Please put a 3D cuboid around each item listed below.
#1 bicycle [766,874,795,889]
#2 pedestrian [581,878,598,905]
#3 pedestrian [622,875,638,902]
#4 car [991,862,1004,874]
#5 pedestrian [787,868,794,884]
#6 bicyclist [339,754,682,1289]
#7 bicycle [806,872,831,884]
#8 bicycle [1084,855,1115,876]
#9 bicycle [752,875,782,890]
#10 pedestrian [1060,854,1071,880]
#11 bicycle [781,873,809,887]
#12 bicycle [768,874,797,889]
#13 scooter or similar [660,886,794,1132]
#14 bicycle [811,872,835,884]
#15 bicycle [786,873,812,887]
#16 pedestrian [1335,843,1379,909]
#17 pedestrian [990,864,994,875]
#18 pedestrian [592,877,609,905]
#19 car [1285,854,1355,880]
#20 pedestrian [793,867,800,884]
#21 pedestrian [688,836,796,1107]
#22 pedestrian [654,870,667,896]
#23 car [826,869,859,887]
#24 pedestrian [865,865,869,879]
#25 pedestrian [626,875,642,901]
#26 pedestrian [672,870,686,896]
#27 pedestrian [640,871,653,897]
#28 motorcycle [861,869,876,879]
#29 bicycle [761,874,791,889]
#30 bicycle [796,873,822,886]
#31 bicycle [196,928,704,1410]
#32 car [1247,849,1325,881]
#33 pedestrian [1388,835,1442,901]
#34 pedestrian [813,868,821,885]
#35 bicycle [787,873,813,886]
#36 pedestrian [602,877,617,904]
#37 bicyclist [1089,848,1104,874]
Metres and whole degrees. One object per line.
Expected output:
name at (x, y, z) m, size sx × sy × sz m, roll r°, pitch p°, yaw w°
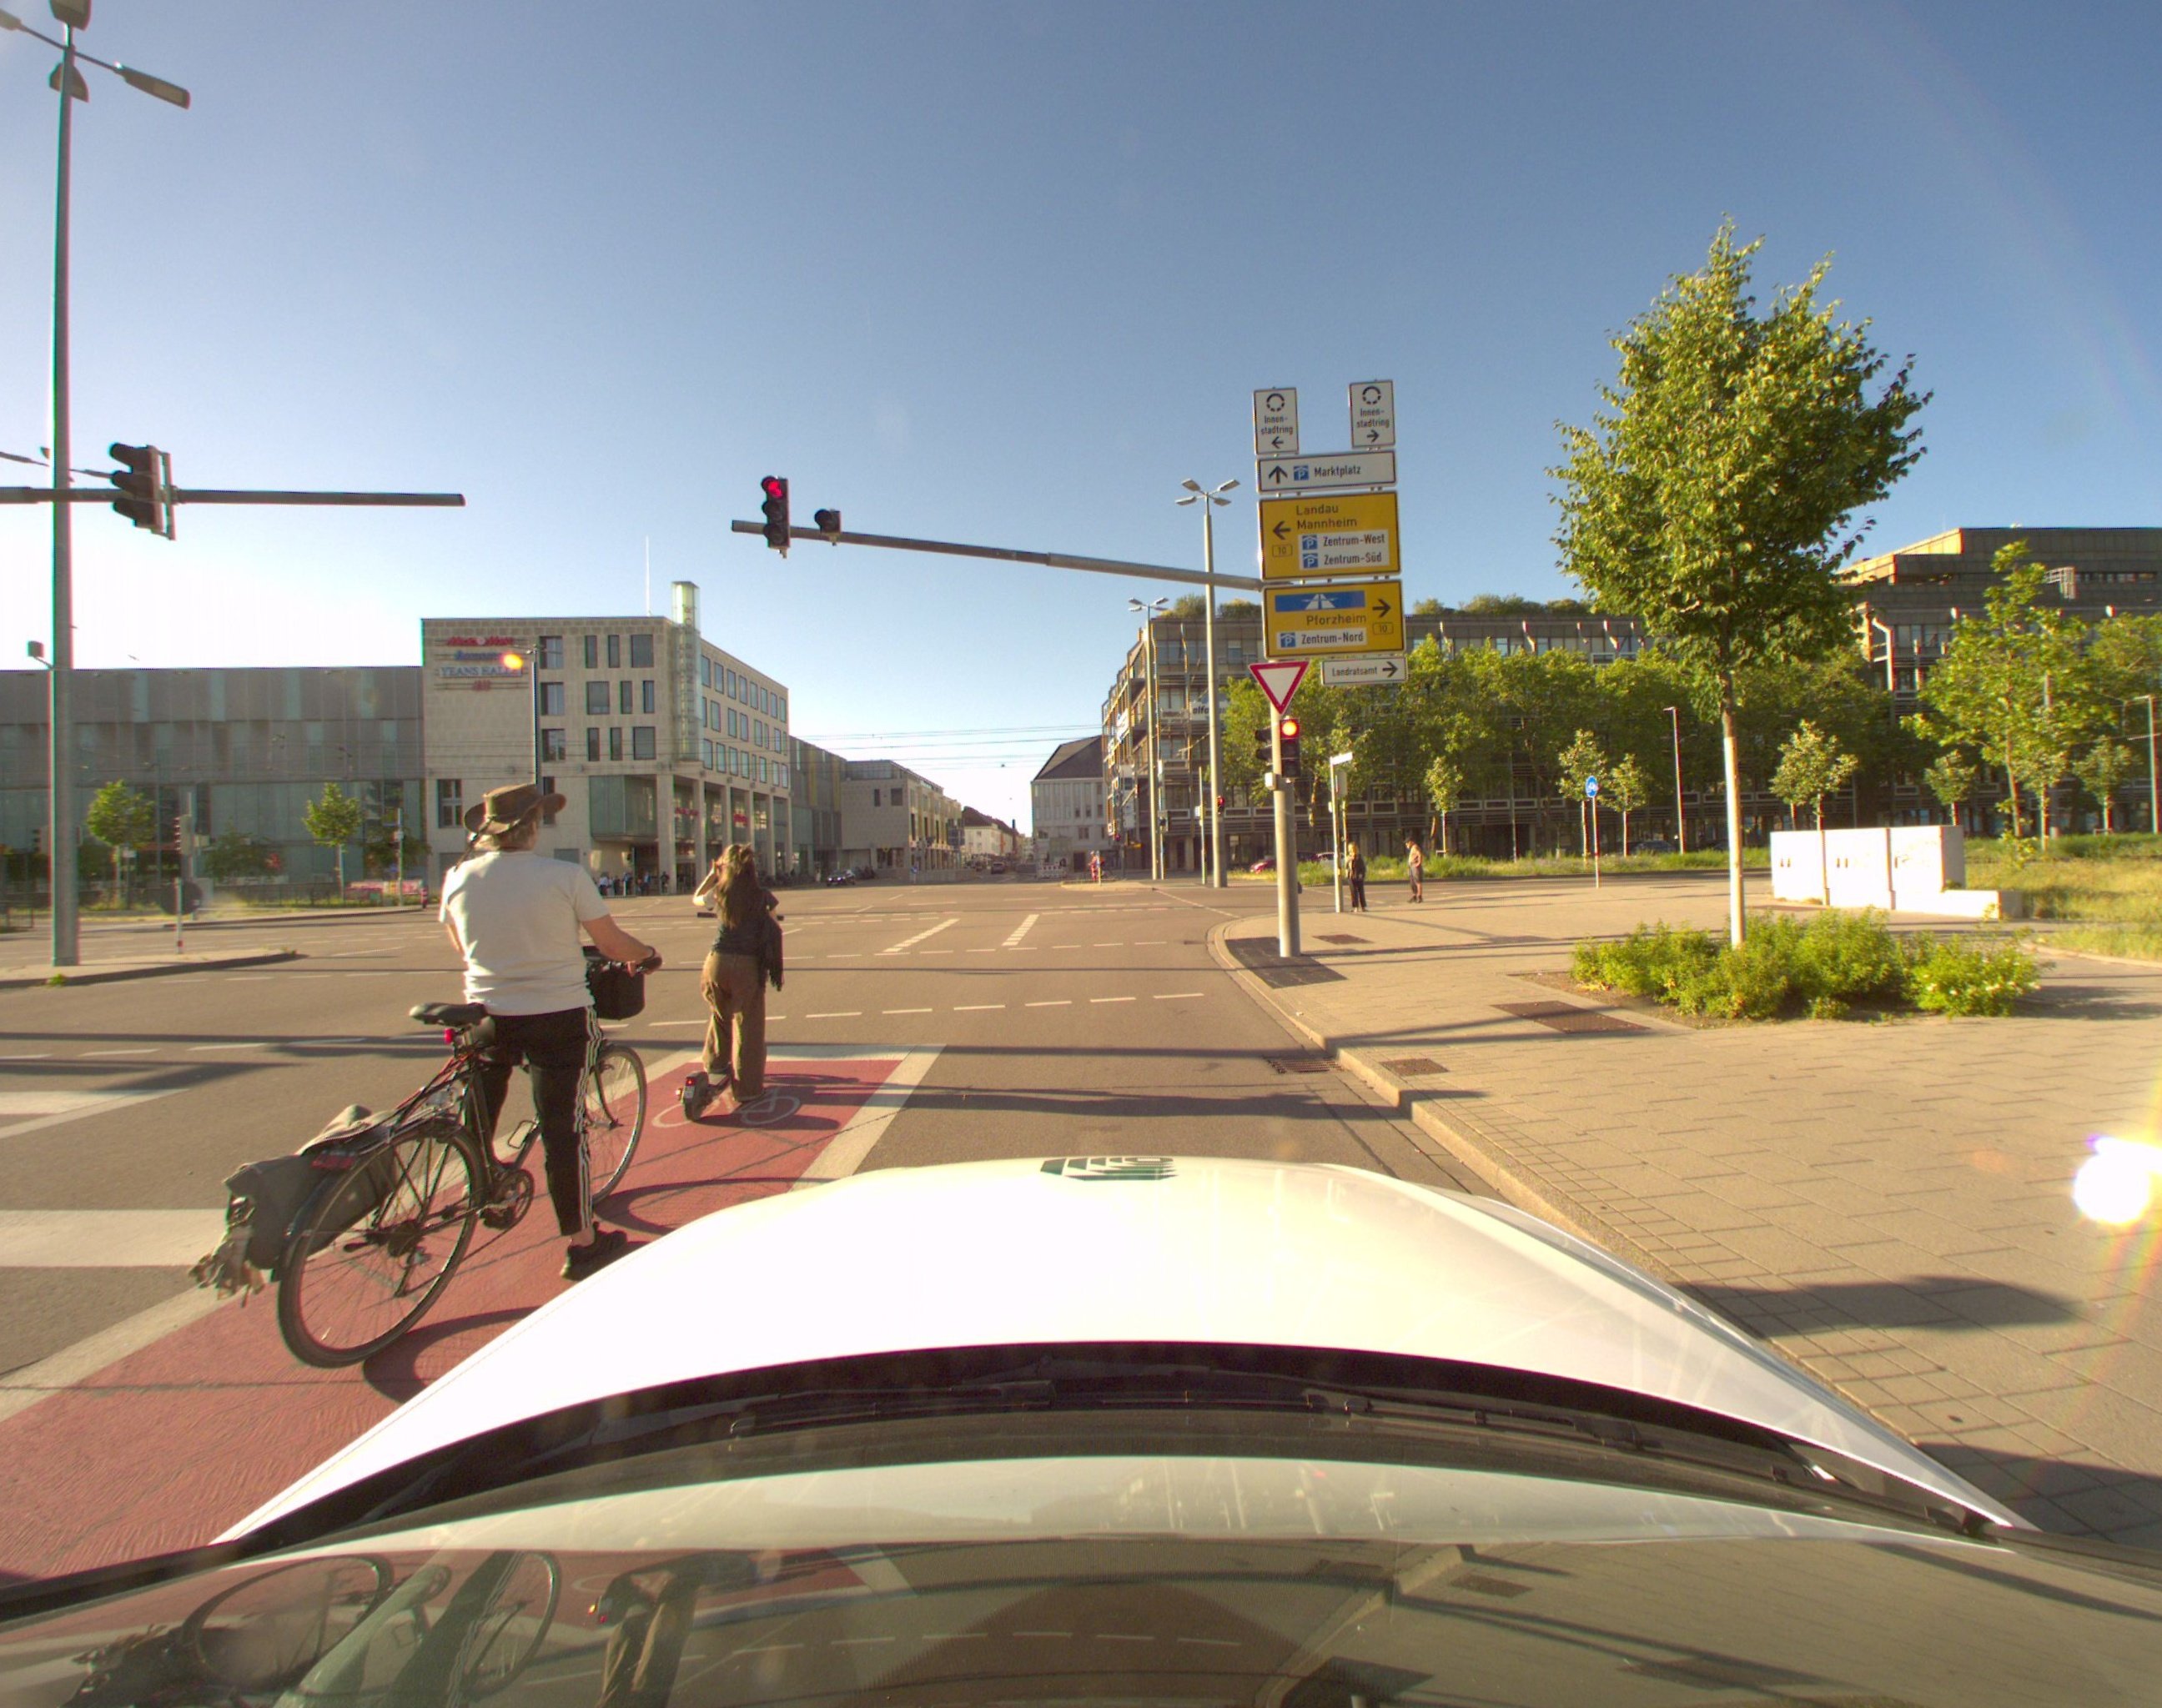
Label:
bicycle at (-26.563, 2.425, 72.013) m, size 2.299 × 1.222 × 0.612 m, roll -2°, pitch -1°, yaw -1°
pedestrian at (-35.181, 2.697, 58.325) m, size 0.783 × 1.885 × 0.716 m, roll 0°, pitch -1°, yaw -4°
pedestrian at (-31.944, 2.448, 57.694) m, size 0.783 × 1.885 × 0.716 m, roll 0°, pitch -1°, yaw -4°
car at (-11.136, 1.855, 108.657) m, size 1.735 × 1.531 × 3.848 m, roll 0°, pitch -1°, yaw -5°
pedestrian at (-29.700, 2.239, 83.250) m, size 0.570 × 1.679 × 0.614 m, roll 0°, pitch 0°, yaw -8°
bicyclist at (-2.053, 0.543, 3.063) m, size 0.658 × 1.720 × 0.866 m, roll 0°, pitch -1°, yaw 1°
bicycle at (-27.586, 2.544, 85.583) m, size 2.299 × 1.222 × 0.612 m, roll -2°, pitch -1°, yaw -1°
bicycle at (1.044, 0.652, 45.479) m, size 1.648 × 1.154 × 0.494 m, roll 0°, pitch -1°, yaw -16°
bicycle at (-26.731, 2.404, 69.376) m, size 2.299 × 1.222 × 0.612 m, roll -2°, pitch -1°, yaw -1°
pedestrian at (-1.137, 0.952, 60.345) m, size 0.637 × 1.890 × 0.794 m, roll -1°, pitch -1°, yaw 16°
bicycle at (-26.695, 2.458, 75.965) m, size 2.299 × 1.222 × 0.612 m, roll -2°, pitch -1°, yaw -1°
bicycle at (-26.738, 2.433, 72.898) m, size 2.299 × 1.222 × 0.612 m, roll -2°, pitch -1°, yaw -1°
scooter or similar at (-2.153, 0.871, 5.077) m, size 0.547 × 1.294 × 1.188 m, roll 0°, pitch -1°, yaw -13°
bicycle at (-27.422, 2.552, 86.649) m, size 2.299 × 1.222 × 0.612 m, roll -2°, pitch -1°, yaw -1°
bicycle at (-27.061, 2.479, 78.133) m, size 2.299 × 1.222 × 0.612 m, roll -2°, pitch -1°, yaw -1°
pedestrian at (6.312, 0.500, 18.657) m, size 0.785 × 1.492 × 0.644 m, roll 0°, pitch -1°, yaw 1°
pedestrian at (-12.833, 2.236, 117.672) m, size 0.520 × 1.679 × 0.582 m, roll 0°, pitch 0°, yaw -5°
pedestrian at (-33.866, 2.609, 57.375) m, size 0.783 × 1.885 × 0.716 m, roll 0°, pitch -1°, yaw -4°
car at (14.986, 0.819, 51.120) m, size 3.892 × 1.585 × 1.656 m, roll 0°, pitch -1°, yaw -5°
pedestrian at (-29.106, 2.218, 83.449) m, size 0.553 × 1.679 × 0.606 m, roll 0°, pitch 0°, yaw -8°
pedestrian at (-2.159, 0.706, 5.245) m, size 0.549 × 1.633 × 0.569 m, roll 0°, pitch -1°, yaw -13°
pedestrian at (-30.790, 2.115, 59.668) m, size 0.800 × 1.843 × 0.856 m, roll -2°, pitch 0°, yaw -26°
car at (-20.622, 2.048, 70.509) m, size 1.625 × 1.342 × 3.999 m, roll -4°, pitch -1°, yaw 0°
pedestrian at (-26.100, 2.187, 99.357) m, size 0.521 × 1.679 × 0.580 m, roll 0°, pitch 0°, yaw -12°
pedestrian at (-32.510, 2.465, 59.245) m, size 0.783 × 1.885 × 0.716 m, roll 0°, pitch -1°, yaw -4°
pedestrian at (-29.103, 2.063, 58.942) m, size 0.801 × 1.843 × 0.855 m, roll -2°, pitch 0°, yaw -30°
pedestrian at (-31.074, 2.135, 58.251) m, size 0.718 × 1.885 × 0.781 m, roll 0°, pitch -1°, yaw -25°
motorcycle at (-25.780, 2.427, 98.741) m, size 1.807 × 1.206 × 0.509 m, roll 0°, pitch 0°, yaw -14°
bicycle at (-26.460, 2.413, 70.653) m, size 2.299 × 1.222 × 0.612 m, roll -2°, pitch -1°, yaw -1°
bicycle at (-27.183, 2.506, 81.345) m, size 2.299 × 1.222 × 0.612 m, roll -2°, pitch -1°, yaw -1°
bicycle at (-2.145, 0.943, 3.140) m, size 0.483 × 1.156 × 1.832 m, roll 0°, pitch -1°, yaw 2°
car at (11.495, 0.613, 45.837) m, size 3.880 × 1.585 × 1.656 m, roll -2°, pitch -1°, yaw -6°
pedestrian at (8.607, 0.357, 21.023) m, size 0.881 × 1.665 × 0.958 m, roll 0°, pitch -1°, yaw -19°
pedestrian at (-26.586, 2.281, 81.985) m, size 0.650 × 1.719 × 0.447 m, roll -2°, pitch 0°, yaw -22°
bicycle at (-27.627, 2.499, 80.128) m, size 2.299 × 1.222 × 0.612 m, roll -2°, pitch -1°, yaw -1°
pedestrian at (-33.989, 2.621, 58.722) m, size 0.714 × 1.885 × 0.786 m, roll 0°, pitch -1°, yaw -6°
bicyclist at (0.859, 0.396, 45.430) m, size 0.712 × 1.437 × 0.494 m, roll 0°, pitch -1°, yaw -16°
